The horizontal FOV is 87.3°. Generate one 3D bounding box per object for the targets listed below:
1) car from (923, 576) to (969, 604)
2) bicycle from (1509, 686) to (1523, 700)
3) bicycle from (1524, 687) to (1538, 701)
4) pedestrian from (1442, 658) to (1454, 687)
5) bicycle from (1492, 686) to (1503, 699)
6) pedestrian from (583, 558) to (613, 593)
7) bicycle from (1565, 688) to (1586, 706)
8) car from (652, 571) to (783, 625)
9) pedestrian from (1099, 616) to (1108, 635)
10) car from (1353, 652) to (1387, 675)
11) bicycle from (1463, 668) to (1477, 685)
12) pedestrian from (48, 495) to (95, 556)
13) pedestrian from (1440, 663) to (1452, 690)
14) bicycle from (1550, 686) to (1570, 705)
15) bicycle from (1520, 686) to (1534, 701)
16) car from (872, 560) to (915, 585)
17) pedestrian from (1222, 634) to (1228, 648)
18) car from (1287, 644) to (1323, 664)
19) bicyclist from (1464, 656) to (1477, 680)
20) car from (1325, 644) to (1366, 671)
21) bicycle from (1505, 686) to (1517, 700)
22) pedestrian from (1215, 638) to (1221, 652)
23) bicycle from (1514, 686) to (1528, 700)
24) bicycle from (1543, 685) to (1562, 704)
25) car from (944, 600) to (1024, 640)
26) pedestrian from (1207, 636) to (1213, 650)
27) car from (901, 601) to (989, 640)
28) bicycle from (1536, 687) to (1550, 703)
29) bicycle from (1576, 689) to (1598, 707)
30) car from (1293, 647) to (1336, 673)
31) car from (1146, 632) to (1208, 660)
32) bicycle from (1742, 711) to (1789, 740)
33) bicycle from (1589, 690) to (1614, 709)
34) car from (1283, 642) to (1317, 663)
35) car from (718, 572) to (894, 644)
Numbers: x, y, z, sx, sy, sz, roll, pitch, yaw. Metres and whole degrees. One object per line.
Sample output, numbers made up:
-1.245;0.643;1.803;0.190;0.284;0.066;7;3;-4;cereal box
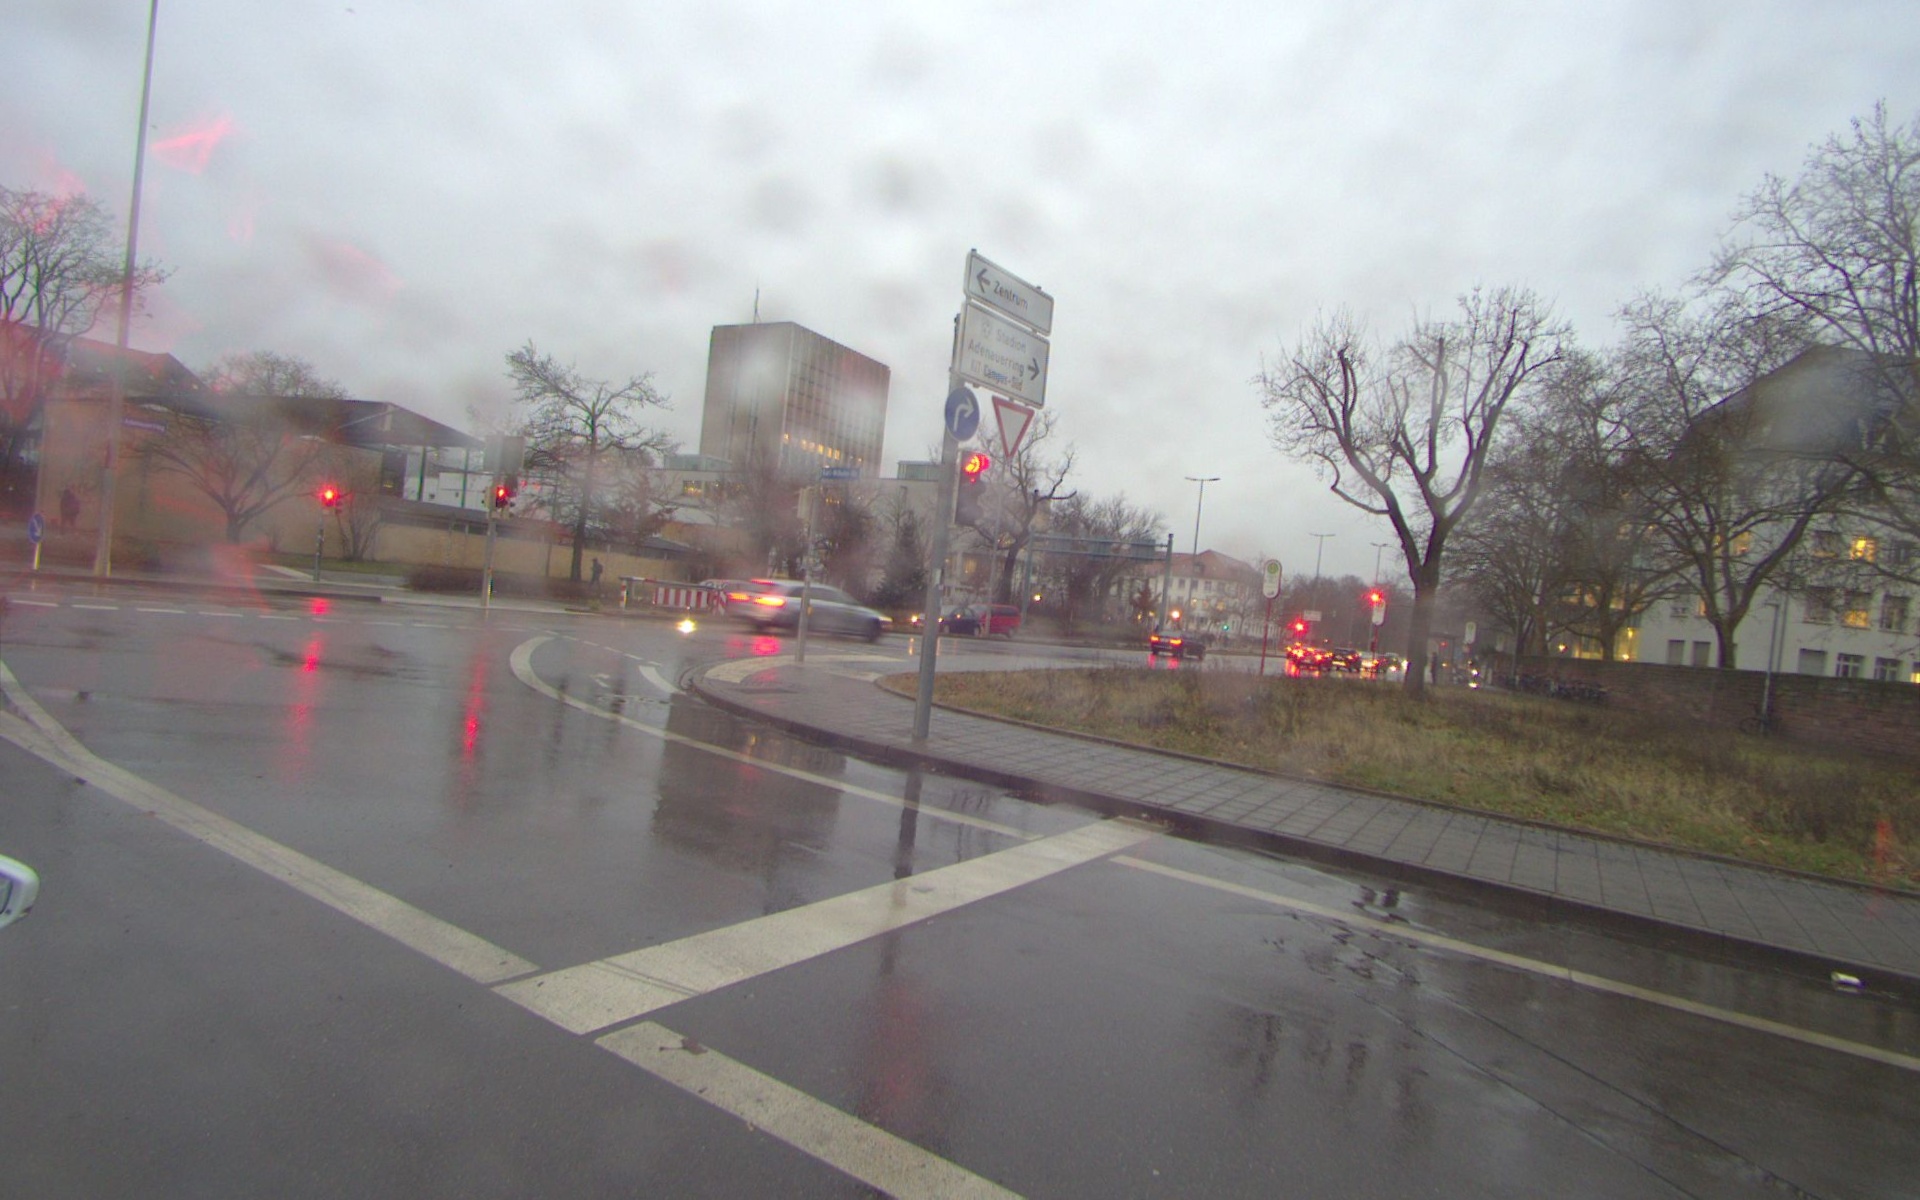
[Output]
-1.407;-0.997;103.090;2.014;2.452;5.326;6;0;30;car
34.348;5.740;62.152;0.387;0.795;1.532;7;-2;20;bicycle
32.839;5.403;57.867;0.387;0.795;1.532;7;-2;19;bicycle
36.243;5.372;74.705;0.557;2.040;0.595;8;2;33;pedestrian
36.389;6.245;68.107;0.387;0.795;1.532;7;-2;20;bicycle
-17.698;-1.194;49.191;0.782;1.624;0.961;8;2;35;pedestrian
31.036;4.874;50.745;0.343;0.848;1.493;7;-2;13;bicycle
-8.668;-0.034;36.274;1.784;1.496;4.411;6;0;37;car
13.561;2.438;95.123;0.411;1.725;0.430;8;3;44;pedestrian
34.225;5.281;83.950;1.811;1.710;4.311;6;0;32;car
37.360;5.594;73.717;0.599;1.181;1.682;7;-2;19;bicycle
-33.513;-2.785;37.958;0.879;2.141;0.885;7;2;15;pedestrian
30.150;4.732;62.419;0.462;1.623;0.486;7;-1;25;pedestrian
31.355;4.978;52.557;0.387;0.868;1.532;7;-2;15;bicycle
33.321;5.486;59.145;0.387;0.795;1.532;7;-2;20;bicycle
-7.049;-2.909;106.552;2.014;2.102;4.892;6;0;30;car
32.202;5.018;122.278;0.404;1.713;0.427;7;2;28;pedestrian
27.559;4.297;80.280;1.674;1.318;3.756;6;0;34;car
37.439;5.003;73.731;0.599;1.660;0.453;7;-1;19;bicyclist
29.701;4.449;77.450;1.812;1.710;4.311;6;-1;34;car
34.849;5.865;63.627;0.387;0.795;1.532;7;-2;20;bicycle
31.758;5.542;123.882;0.404;1.713;0.427;7;2;28;pedestrian
33.827;5.613;60.664;0.387;0.795;1.532;7;-2;20;bicycle
31.840;5.073;54.088;0.387;0.927;1.532;7;-2;15;bicycle
1.499;1.209;59.387;2.016;1.903;5.320;6;0;35;car
31.363;5.433;126.132;0.404;1.713;0.427;7;2;28;pedestrian
-0.648;1.001;47.731;1.784;1.496;4.411;6;0;37;car
32.411;5.289;55.953;0.387;0.795;1.607;7;-2;22;bicycle
30.547;4.768;49.001;0.387;0.795;1.533;7;-2;14;bicycle
25.165;4.241;71.347;1.811;1.602;4.126;6;0;33;car
12.417;2.629;57.366;1.907;1.318;4.687;6;0;32;car
28.200;4.398;35.226;0.387;0.834;1.386;7;-2;-4;bicycle
30.273;4.671;47.477;0.352;0.795;1.415;7;-2;8;bicycle
30.073;4.638;88.945;1.811;1.602;4.127;6;0;32;car
-4.198;0.259;28.129;1.911;1.571;4.677;6;0;40;car
